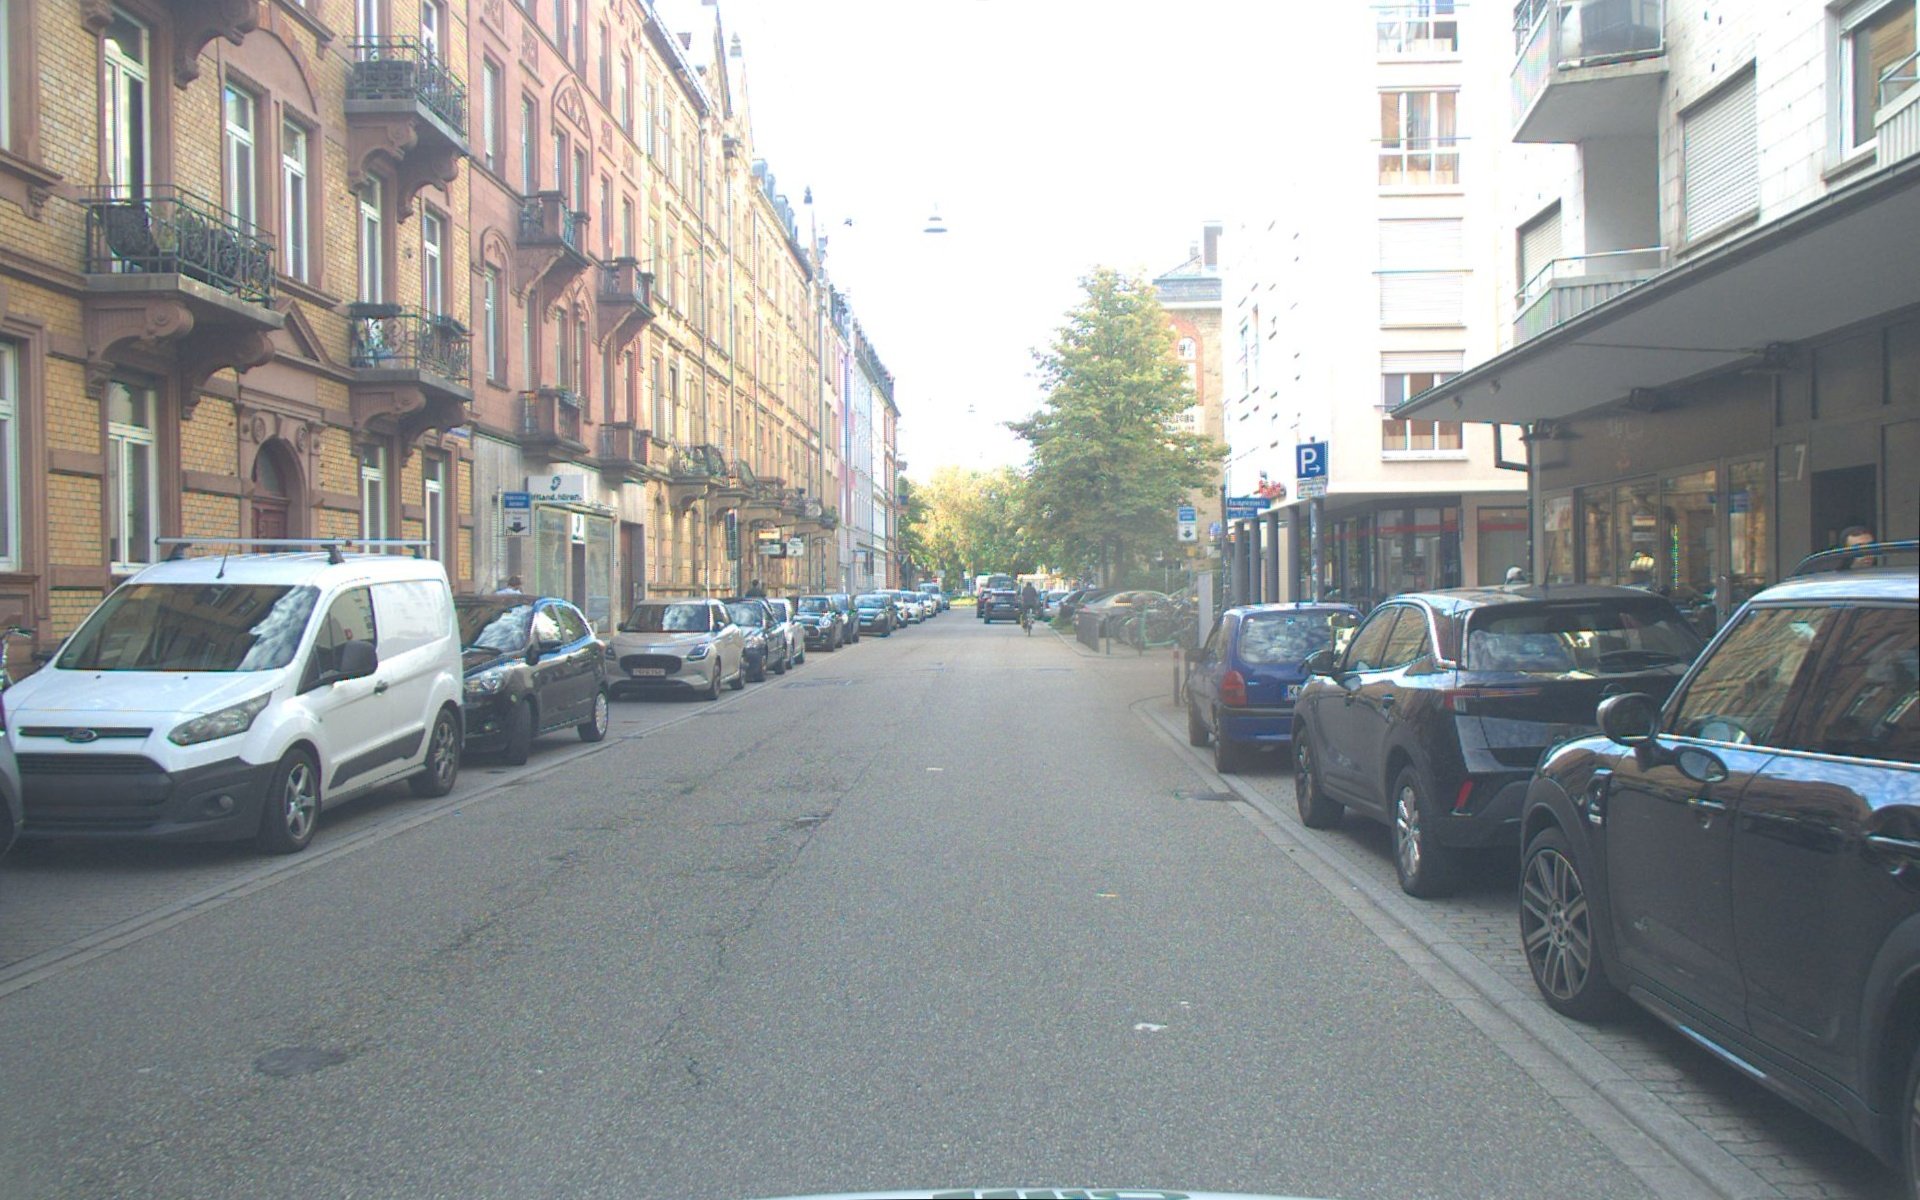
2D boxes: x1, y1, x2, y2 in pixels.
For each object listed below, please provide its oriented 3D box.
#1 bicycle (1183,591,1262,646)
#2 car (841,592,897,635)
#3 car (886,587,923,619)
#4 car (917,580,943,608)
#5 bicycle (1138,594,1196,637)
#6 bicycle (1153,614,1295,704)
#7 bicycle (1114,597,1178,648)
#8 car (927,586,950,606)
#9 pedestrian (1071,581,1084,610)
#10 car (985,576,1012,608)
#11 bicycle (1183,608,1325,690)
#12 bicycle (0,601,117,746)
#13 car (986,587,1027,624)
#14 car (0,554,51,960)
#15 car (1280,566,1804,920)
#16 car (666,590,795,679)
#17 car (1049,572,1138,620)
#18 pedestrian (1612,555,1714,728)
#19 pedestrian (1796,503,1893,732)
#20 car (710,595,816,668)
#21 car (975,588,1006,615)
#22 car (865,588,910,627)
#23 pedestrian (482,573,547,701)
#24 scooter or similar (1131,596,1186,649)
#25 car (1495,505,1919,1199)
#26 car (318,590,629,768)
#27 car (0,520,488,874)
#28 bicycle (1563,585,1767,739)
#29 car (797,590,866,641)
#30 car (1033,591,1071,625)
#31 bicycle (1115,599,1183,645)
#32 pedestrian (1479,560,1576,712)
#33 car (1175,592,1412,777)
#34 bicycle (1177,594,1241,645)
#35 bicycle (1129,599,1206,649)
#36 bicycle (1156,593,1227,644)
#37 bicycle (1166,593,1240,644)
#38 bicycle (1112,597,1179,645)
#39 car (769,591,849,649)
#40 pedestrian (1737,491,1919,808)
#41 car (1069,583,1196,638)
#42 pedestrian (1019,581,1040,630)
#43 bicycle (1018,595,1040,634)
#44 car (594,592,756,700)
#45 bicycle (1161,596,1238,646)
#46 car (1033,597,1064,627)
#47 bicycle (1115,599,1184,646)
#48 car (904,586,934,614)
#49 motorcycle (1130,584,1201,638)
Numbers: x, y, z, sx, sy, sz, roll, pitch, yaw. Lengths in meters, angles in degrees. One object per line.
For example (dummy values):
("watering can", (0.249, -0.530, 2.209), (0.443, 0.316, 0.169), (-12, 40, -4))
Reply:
("bicycle", (6.148, 0.430, 38.746), (1.728, 1.182, 0.650), (-3, 1, 4))
("car", (-3.272, 0.465, 60.035), (1.655, 1.393, 3.868), (3, 1, 1))
("car", (-2.817, 0.158, 84.553), (1.655, 1.577, 3.867), (1, 0, 1))
("car", (-2.081, -0.419, 116.074), (1.655, 1.853, 3.867), (1, 0, 1))
("bicycle", (6.171, 0.460, 49.372), (1.629, 1.179, 0.557), (-3, 1, 3))
("bicycle", (3.441, 0.765, 21.660), (1.740, 1.114, 0.679), (-2, 0, 45))
("bicycle", (4.551, 0.552, 40.558), (1.466, 1.166, 0.411), (-3, 1, -4))
("car", (-1.671, -0.326, 131.154), (1.655, 1.577, 3.867), (1, 0, 1))
("pedestrian", (9.172, -0.349, 128.973), (0.975, 2.269, 0.899), (1, 0, 2))
("car", (2.547, -0.554, 110.258), (1.745, 2.055, 3.888), (1, 1, 1))
("bicycle", (4.154, 0.692, 23.468), (1.930, 1.114, 0.685), (-2, -1, 45))
("bicycle", (-8.161, 0.609, 14.387), (0.556, 1.171, 2.001), (1, 0, 1))
("car", (2.299, 0.274, 81.265), (1.924, 1.771, 4.042), (1, 0, 2))
("car", (-4.913, 0.656, 5.077), (1.953, 1.666, 4.145), (0, 0, 0))
("car", (3.079, 0.661, 9.624), (1.653, 1.604, 3.902), (-1, 0, 0))
("car", (-4.155, 0.581, 30.542), (1.705, 1.509, 3.984), (1, 0, 1))
("car", (6.017, -0.195, 74.431), (3.903, 1.712, 1.740), (-3, 8, 6))
("pedestrian", (6.830, 0.397, 16.097), (0.630, 1.616, 0.781), (-2, 0, 3))
("pedestrian", (7.547, 0.143, 14.100), (0.694, 1.893, 0.643), (-1, 0, 30))
("car", (-4.089, 0.621, 34.904), (1.655, 1.411, 3.868), (1, 0, 1))
("car", (1.804, 0.080, 97.104), (1.760, 1.497, 3.888), (1, 1, 1))
("car", (-3.136, 0.294, 72.153), (1.655, 1.577, 3.868), (2, 1, 1))
("pedestrian", (-6.563, 0.534, 24.416), (0.716, 1.821, 0.771), (3, 0, -5))
("scooter or similar", (4.633, 0.528, 38.576), (1.184, 1.167, 0.377), (-3, 1, 34))
("car", (2.911, 0.594, 4.425), (1.755, 1.633, 3.925), (-1, 0, 1))
("car", (-4.599, 0.686, 16.276), (1.705, 1.509, 3.985), (1, 0, 3))
("car", (-4.785, 0.500, 11.144), (1.880, 1.904, 4.437), (0, 1, 1))
("bicycle", (6.630, 0.541, 15.740), (0.899, 1.313, 2.500), (-2, 0, 2))
("car", (-3.826, 0.437, 49.612), (1.655, 1.462, 3.868), (1, 0, 1))
("car", (4.795, 0.409, 86.430), (1.890, 1.666, 4.001), (1, 1, 2))
("bicycle", (5.014, 0.578, 43.825), (1.728, 1.138, 0.412), (-3, 0, 4))
("pedestrian", (6.229, 0.386, 18.182), (0.806, 1.616, 0.781), (-1, 0, 3))
("car", (2.984, 0.680, 15.526), (1.562, 1.464, 4.032), (-1, 0, 3))
("bicycle", (6.108, 0.470, 40.579), (1.464, 1.166, 0.411), (-3, 0, 2))
("bicycle", (4.908, 0.559, 39.182), (1.731, 1.075, 0.411), (-3, 1, -4))
("bicycle", (5.838, 0.461, 41.628), (1.739, 1.166, 0.409), (-3, 1, -19))
("bicycle", (6.043, 0.464, 41.119), (1.731, 1.166, 0.411), (-3, 1, -4))
("bicycle", (5.011, 0.568, 44.760), (1.756, 1.179, 0.500), (-3, 0, 4))
("car", (-3.956, 0.498, 43.756), (1.655, 1.411, 3.868), (1, 0, 1))
("pedestrian", (5.252, 0.265, 9.838), (0.600, 1.756, 1.125), (-3, 1, -4))
("car", (5.540, 0.346, 53.329), (3.691, 1.573, 1.727), (-3, -1, -9))
("pedestrian", (2.383, 0.181, 56.959), (0.703, 1.679, 0.930), (1, 0, 2))
("bicycle", (2.370, 0.499, 56.822), (0.703, 1.296, 1.884), (1, 0, 2))
("car", (-4.339, 0.649, 25.719), (1.705, 1.509, 3.984), (1, 0, 1))
("bicycle", (5.751, 0.493, 39.803), (1.728, 1.106, 0.650), (-3, 1, 4))
("car", (4.837, 0.649, 90.828), (1.655, 1.577, 3.689), (1, 0, 2))
("bicycle", (4.935, 0.584, 43.082), (1.728, 1.118, 0.412), (-3, 0, 4))
("car", (-2.438, 0.000, 99.617), (1.655, 1.577, 3.867), (1, 0, 1))
("motorcycle", (6.330, 0.328, 51.060), (2.105, 1.557, 0.686), (-3, 1, 6))
